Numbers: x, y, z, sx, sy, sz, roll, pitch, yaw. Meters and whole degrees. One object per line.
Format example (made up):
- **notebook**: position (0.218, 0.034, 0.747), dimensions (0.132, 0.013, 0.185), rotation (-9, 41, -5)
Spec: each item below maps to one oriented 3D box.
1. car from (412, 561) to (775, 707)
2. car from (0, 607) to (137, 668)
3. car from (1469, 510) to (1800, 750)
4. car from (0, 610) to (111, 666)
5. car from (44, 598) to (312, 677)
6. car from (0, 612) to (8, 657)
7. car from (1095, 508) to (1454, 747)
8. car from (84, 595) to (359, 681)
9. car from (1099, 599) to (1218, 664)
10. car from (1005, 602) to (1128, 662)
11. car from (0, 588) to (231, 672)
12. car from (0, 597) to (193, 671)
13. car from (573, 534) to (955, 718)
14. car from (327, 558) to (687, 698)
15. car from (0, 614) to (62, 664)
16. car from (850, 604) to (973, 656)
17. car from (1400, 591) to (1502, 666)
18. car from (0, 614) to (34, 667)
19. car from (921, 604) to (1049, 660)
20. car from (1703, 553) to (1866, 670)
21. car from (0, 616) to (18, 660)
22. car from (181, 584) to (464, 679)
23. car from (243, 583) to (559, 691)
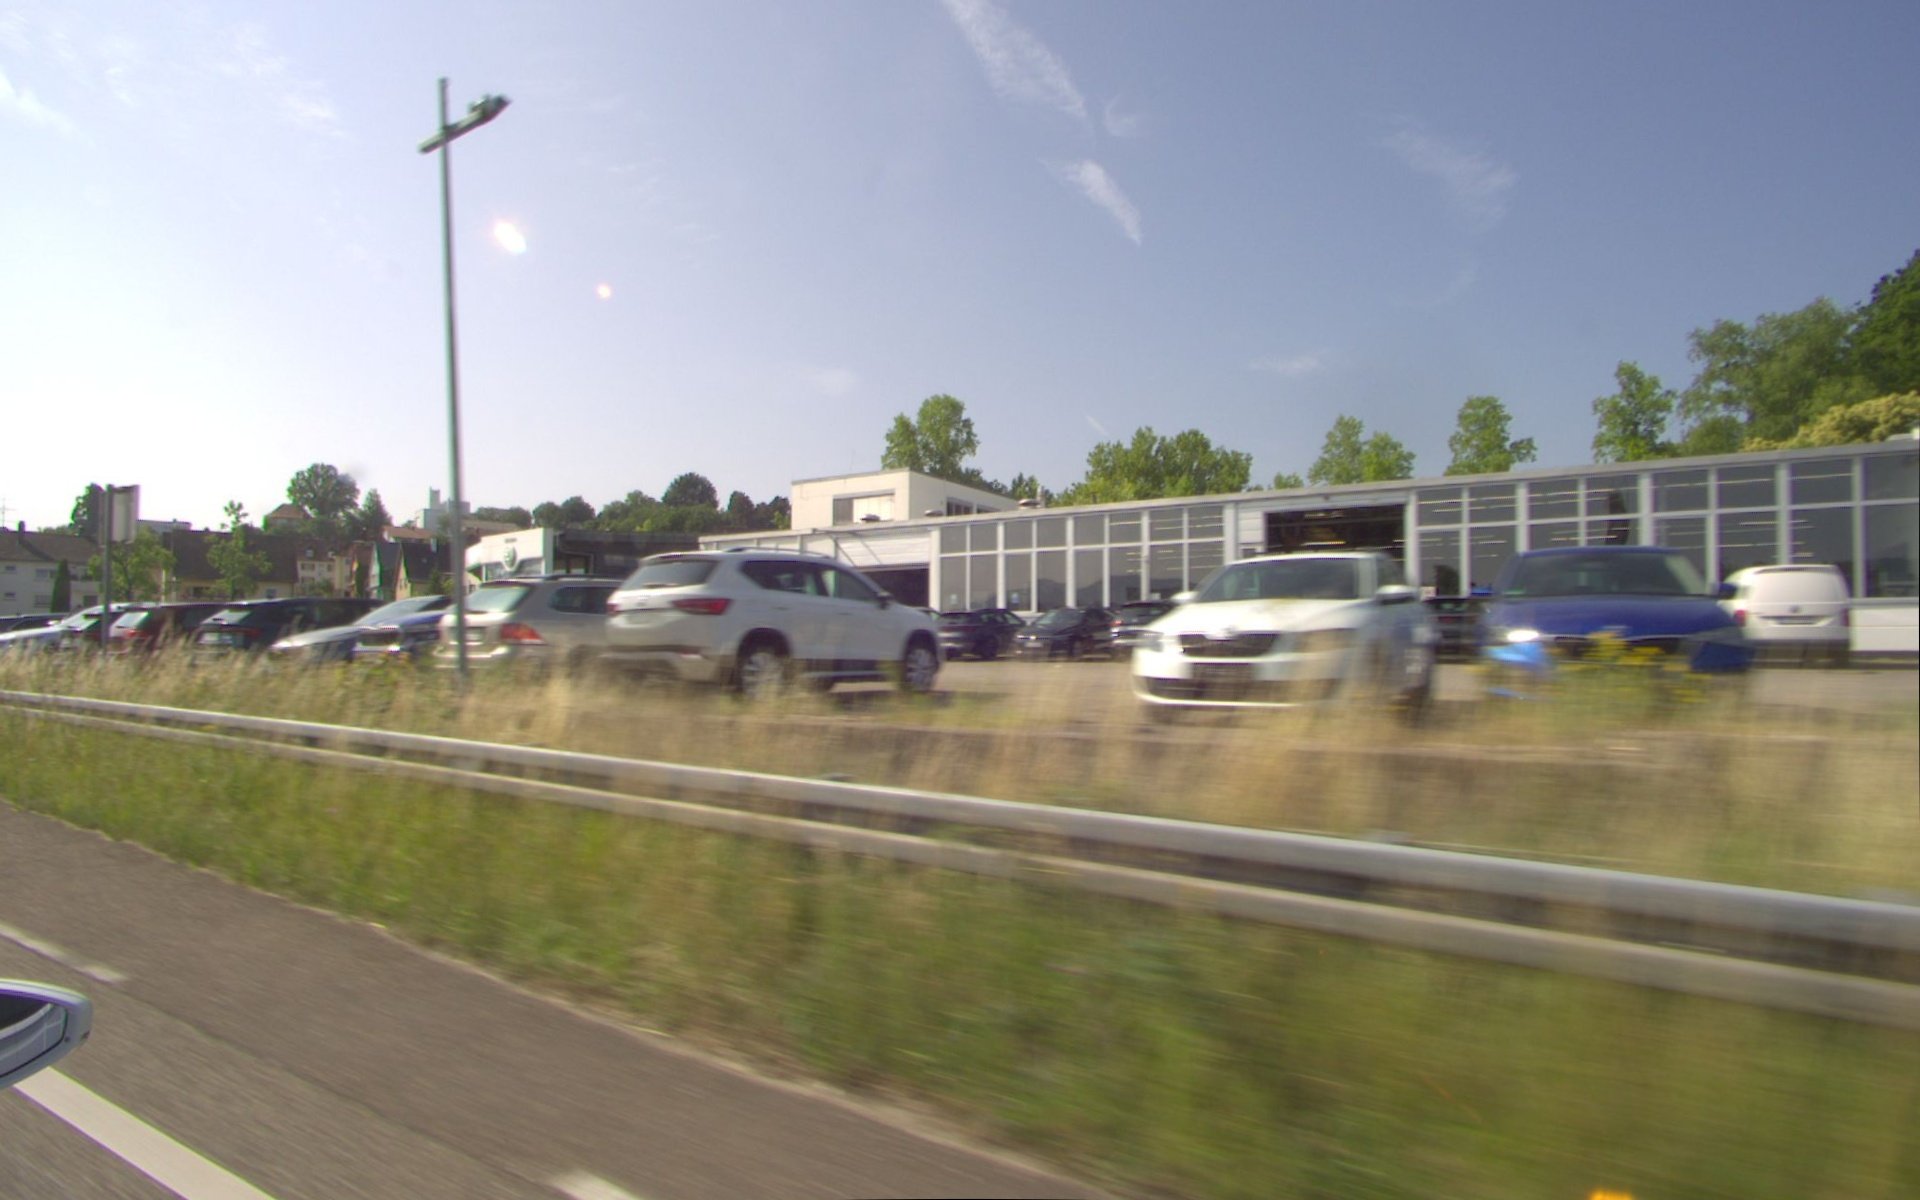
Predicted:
- **car**: position (-4.409, 0.397, 12.620), dimensions (1.781, 1.527, 4.029), rotation (-1, -1, 34)
- **car**: position (-23.421, 0.943, 25.226), dimensions (1.721, 1.477, 3.831), rotation (-1, -2, 32)
- **car**: position (5.461, 0.236, 8.550), dimensions (1.851, 1.513, 4.042), rotation (-1, -1, 29)
- **car**: position (-27.272, 1.077, 28.750), dimensions (1.756, 1.572, 4.076), rotation (-1, -1, 31)
- **car**: position (-16.093, 0.766, 20.820), dimensions (1.922, 1.470, 3.982), rotation (-1, -2, 31)
- **car**: position (-36.349, 1.242, 34.780), dimensions (1.826, 1.621, 4.445), rotation (-1, -1, 27)
- **car**: position (2.964, 0.222, 8.689), dimensions (1.854, 1.513, 4.339), rotation (-1, -1, 33)
- **car**: position (-13.574, 0.695, 18.623), dimensions (1.796, 1.424, 3.726), rotation (-1, -2, 31)
- **car**: position (5.245, 0.793, 25.998), dimensions (1.764, 1.545, 4.305), rotation (-1, -1, 30)
- **car**: position (2.984, 0.845, 27.330), dimensions (1.764, 1.483, 4.305), rotation (-1, -1, 30)
- **car**: position (-18.564, 0.663, 21.778), dimensions (1.892, 1.653, 3.984), rotation (-1, -2, 29)
- **car**: position (-21.240, 0.813, 24.153), dimensions (1.894, 1.653, 3.980), rotation (-1, -2, 32)
- **car**: position (-1.958, 0.277, 11.103), dimensions (1.854, 1.638, 4.035), rotation (-1, -1, 34)
- **car**: position (-6.199, 0.406, 14.241), dimensions (1.923, 1.660, 4.348), rotation (-1, -2, 32)
- **car**: position (-29.279, 1.168, 29.648), dimensions (1.641, 1.477, 3.725), rotation (-1, -1, 31)
- **car**: position (-1.389, 0.897, 30.650), dimensions (1.764, 1.483, 4.305), rotation (-1, -1, 29)
- **car**: position (10.927, 0.610, 22.141), dimensions (1.764, 1.483, 4.305), rotation (-1, -1, 30)
- **car**: position (-32.024, 1.300, 31.588), dimensions (1.816, 1.685, 3.868), rotation (-1, -1, 35)
- **car**: position (0.799, 0.905, 28.882), dimensions (1.765, 1.483, 4.302), rotation (-1, -1, 32)
- **car**: position (15.476, 0.244, 19.019), dimensions (1.765, 1.949, 4.303), rotation (-1, -1, 31)
- **car**: position (-34.176, 1.278, 33.238), dimensions (1.700, 1.505, 4.024), rotation (-1, -1, 35)
- **car**: position (-10.807, 0.549, 17.234), dimensions (1.753, 1.446, 3.728), rotation (-1, -2, 31)
- **car**: position (-8.673, 0.573, 15.879), dimensions (1.922, 1.470, 3.982), rotation (-1, -2, 31)
